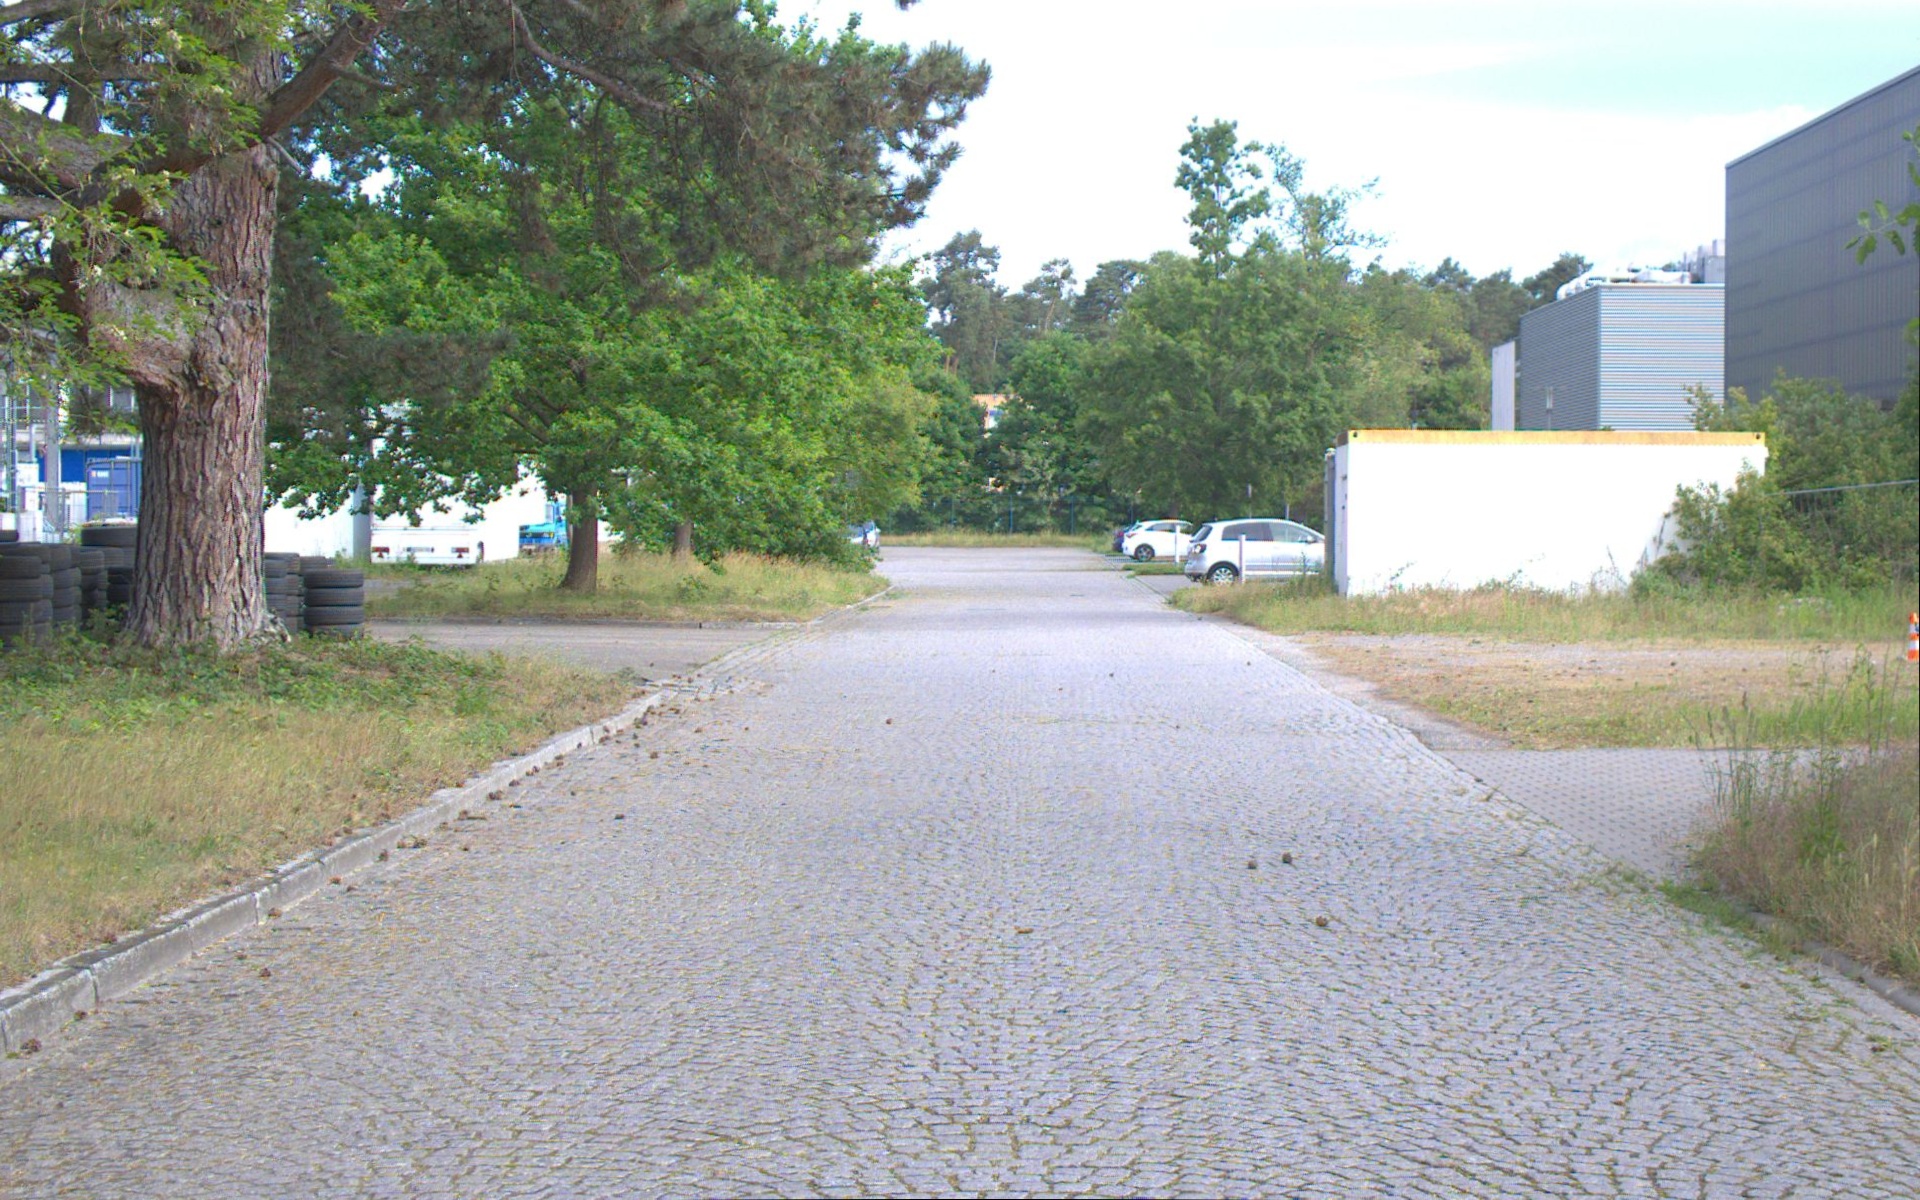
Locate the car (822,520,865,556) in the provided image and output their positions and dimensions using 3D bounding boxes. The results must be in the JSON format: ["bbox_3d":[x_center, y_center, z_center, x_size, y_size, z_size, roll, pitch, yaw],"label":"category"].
[{"bbox_3d":[-4.771,-2.558,141.369,1.735,1.464,4.046,0,1,-1],"label":"car"}]

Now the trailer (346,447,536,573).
[{"bbox_3d":[-13.317,-2.318,89.004,3.159,3.057,8.784,1,1,3],"label":"trailer"}]

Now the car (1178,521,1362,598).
[{"bbox_3d":[6.828,-0.899,75.900,3.849,1.649,1.686,0,1,-1],"label":"car"}]

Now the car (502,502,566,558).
[{"bbox_3d":[-16.038,-2.648,129.664,1.925,2.040,4.601,0,1,-1],"label":"car"}]

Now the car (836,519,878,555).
[{"bbox_3d":[-4.523,-2.780,150.721,1.803,1.529,4.000,0,1,-1],"label":"car"}]

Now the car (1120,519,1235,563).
[{"bbox_3d":[7.703,-2.105,122.031,4.025,1.496,1.548,1,1,2],"label":"car"}]

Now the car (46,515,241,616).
[{"bbox_3d":[-12.192,-0.534,51.544,1.767,1.448,3.487,1,1,7],"label":"car"}]
